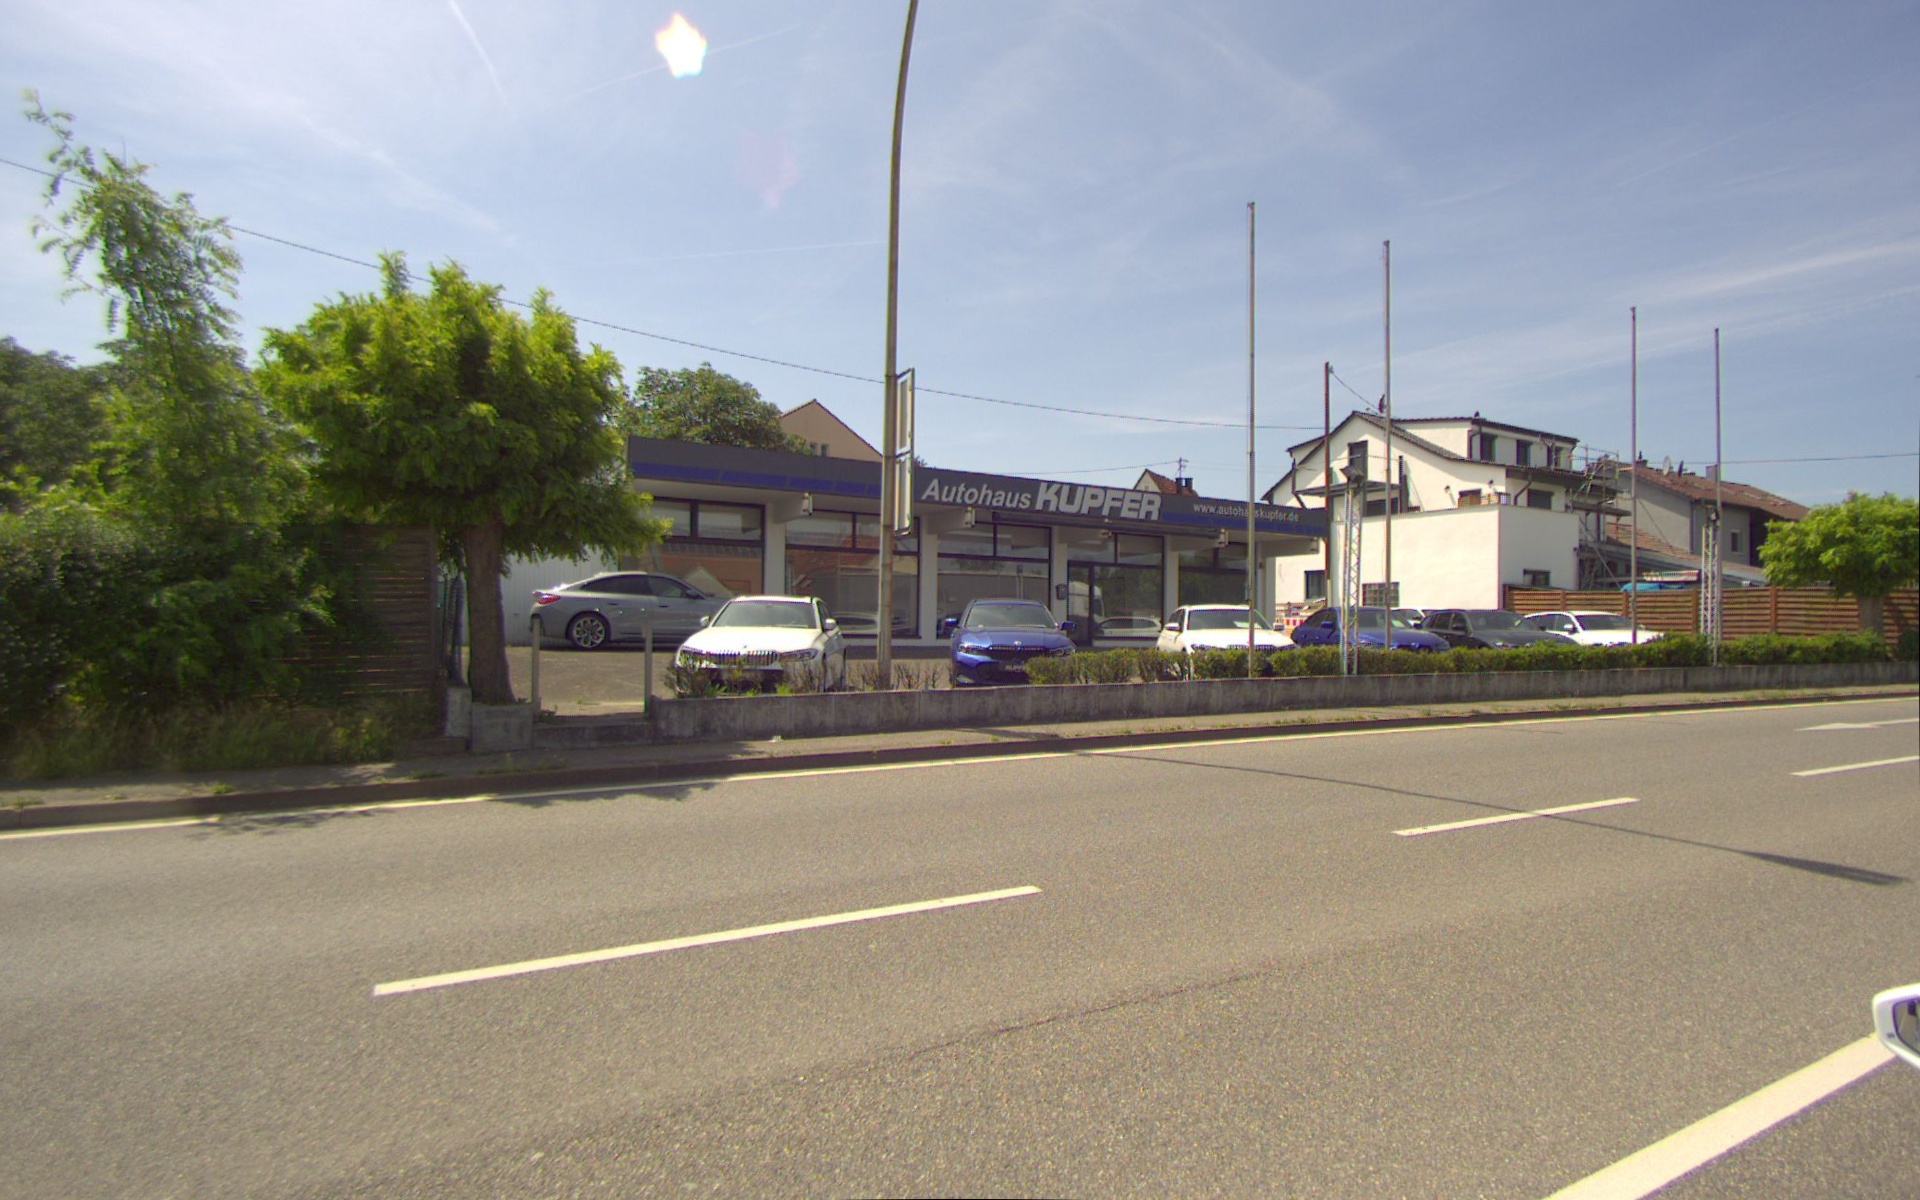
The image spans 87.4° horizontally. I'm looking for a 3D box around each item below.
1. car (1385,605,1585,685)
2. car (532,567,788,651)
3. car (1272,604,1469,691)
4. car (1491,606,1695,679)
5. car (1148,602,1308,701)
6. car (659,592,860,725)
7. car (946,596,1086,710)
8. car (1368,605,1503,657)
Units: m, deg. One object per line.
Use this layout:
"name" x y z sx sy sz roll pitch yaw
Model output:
"car" 11.274 0.902 21.965 1.862 1.467 4.340 2 0 -4
"car" -5.741 0.184 19.393 4.512 1.484 1.802 1 0 -20
"car" 8.028 0.858 20.149 1.822 1.467 4.338 2 0 -5
"car" 14.727 0.937 23.705 1.821 1.467 4.340 2 0 -4
"car" 4.568 0.797 17.782 1.820 1.467 4.517 1 0 3
"car" -2.542 0.681 13.902 1.820 1.467 4.580 2 0 0
"car" 0.750 0.711 15.641 1.820 1.467 4.342 2 0 0
"car" 15.361 0.970 32.673 1.805 1.530 3.987 1 0 -15
